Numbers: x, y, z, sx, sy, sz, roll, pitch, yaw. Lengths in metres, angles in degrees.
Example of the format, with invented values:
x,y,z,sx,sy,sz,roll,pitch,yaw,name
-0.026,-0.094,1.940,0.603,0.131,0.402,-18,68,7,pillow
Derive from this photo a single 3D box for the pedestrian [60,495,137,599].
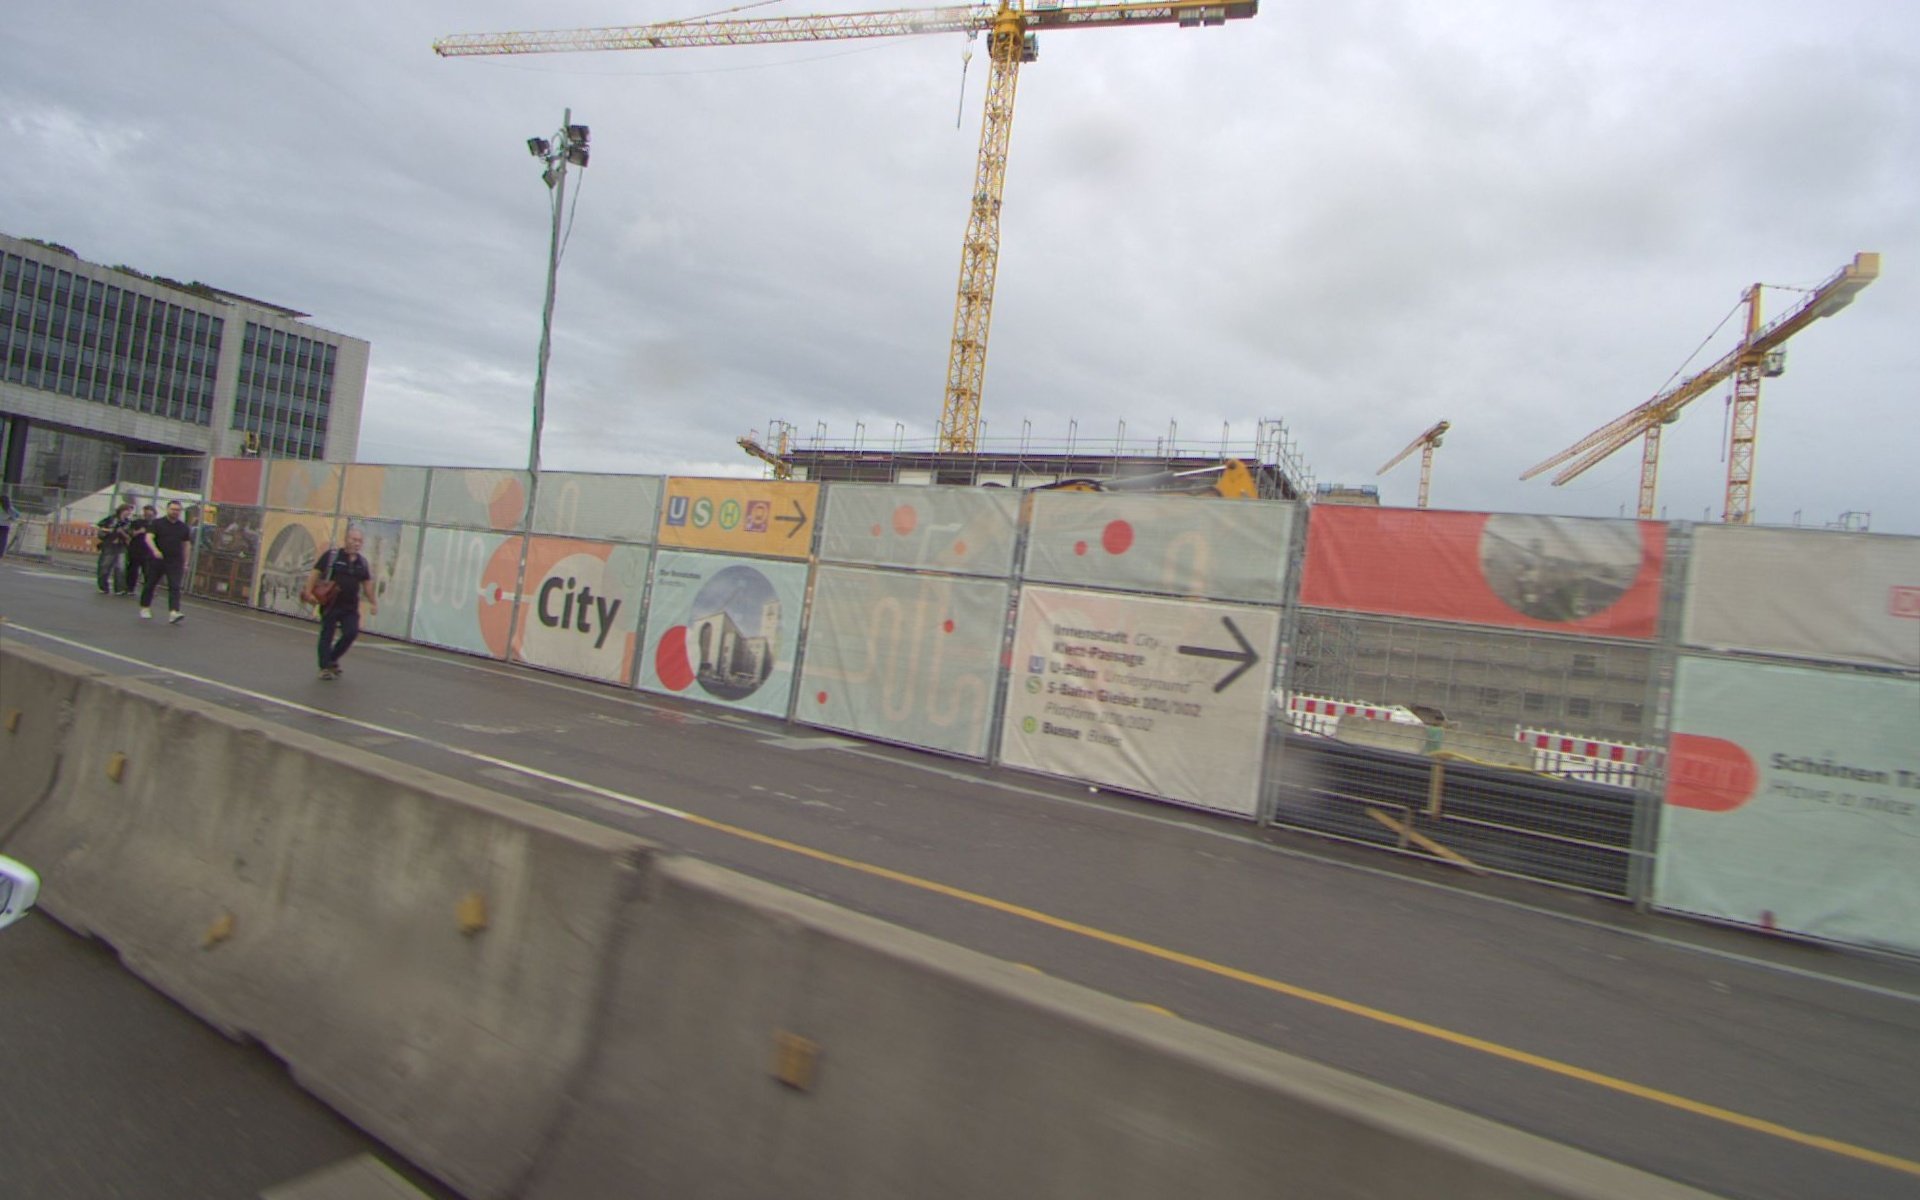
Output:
x,y,z,sx,sy,sz,roll,pitch,yaw,name
-16.475,-1.001,19.251,0.616,1.855,0.797,7,-1,32,pedestrian

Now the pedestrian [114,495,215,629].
x,y,z,sx,sy,sz,roll,pitch,yaw,name
-12.171,-0.576,15.407,0.806,1.899,0.797,7,-1,32,pedestrian

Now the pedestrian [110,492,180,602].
x,y,z,sx,sy,sz,roll,pitch,yaw,name
-16.185,-1.049,19.982,0.675,2.037,0.680,8,0,32,pedestrian

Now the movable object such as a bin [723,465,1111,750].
x,y,z,sx,sy,sz,roll,pitch,yaw,name
-0.542,0.118,15.682,4.281,3.534,3.937,7,-1,30,movable object such as a bin

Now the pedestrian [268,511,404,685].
x,y,z,sx,sy,sz,roll,pitch,yaw,name
-7.138,-0.007,11.525,0.675,1.855,0.927,7,-1,32,pedestrian

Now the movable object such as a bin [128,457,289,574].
x,y,z,sx,sy,sz,roll,pitch,yaw,name
-28.072,-3.112,37.562,4.298,3.534,3.921,6,-1,44,movable object such as a bin

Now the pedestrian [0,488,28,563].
x,y,z,sx,sy,sz,roll,pitch,yaw,name
-25.009,-1.966,26.146,0.671,1.883,0.789,7,-1,26,pedestrian
